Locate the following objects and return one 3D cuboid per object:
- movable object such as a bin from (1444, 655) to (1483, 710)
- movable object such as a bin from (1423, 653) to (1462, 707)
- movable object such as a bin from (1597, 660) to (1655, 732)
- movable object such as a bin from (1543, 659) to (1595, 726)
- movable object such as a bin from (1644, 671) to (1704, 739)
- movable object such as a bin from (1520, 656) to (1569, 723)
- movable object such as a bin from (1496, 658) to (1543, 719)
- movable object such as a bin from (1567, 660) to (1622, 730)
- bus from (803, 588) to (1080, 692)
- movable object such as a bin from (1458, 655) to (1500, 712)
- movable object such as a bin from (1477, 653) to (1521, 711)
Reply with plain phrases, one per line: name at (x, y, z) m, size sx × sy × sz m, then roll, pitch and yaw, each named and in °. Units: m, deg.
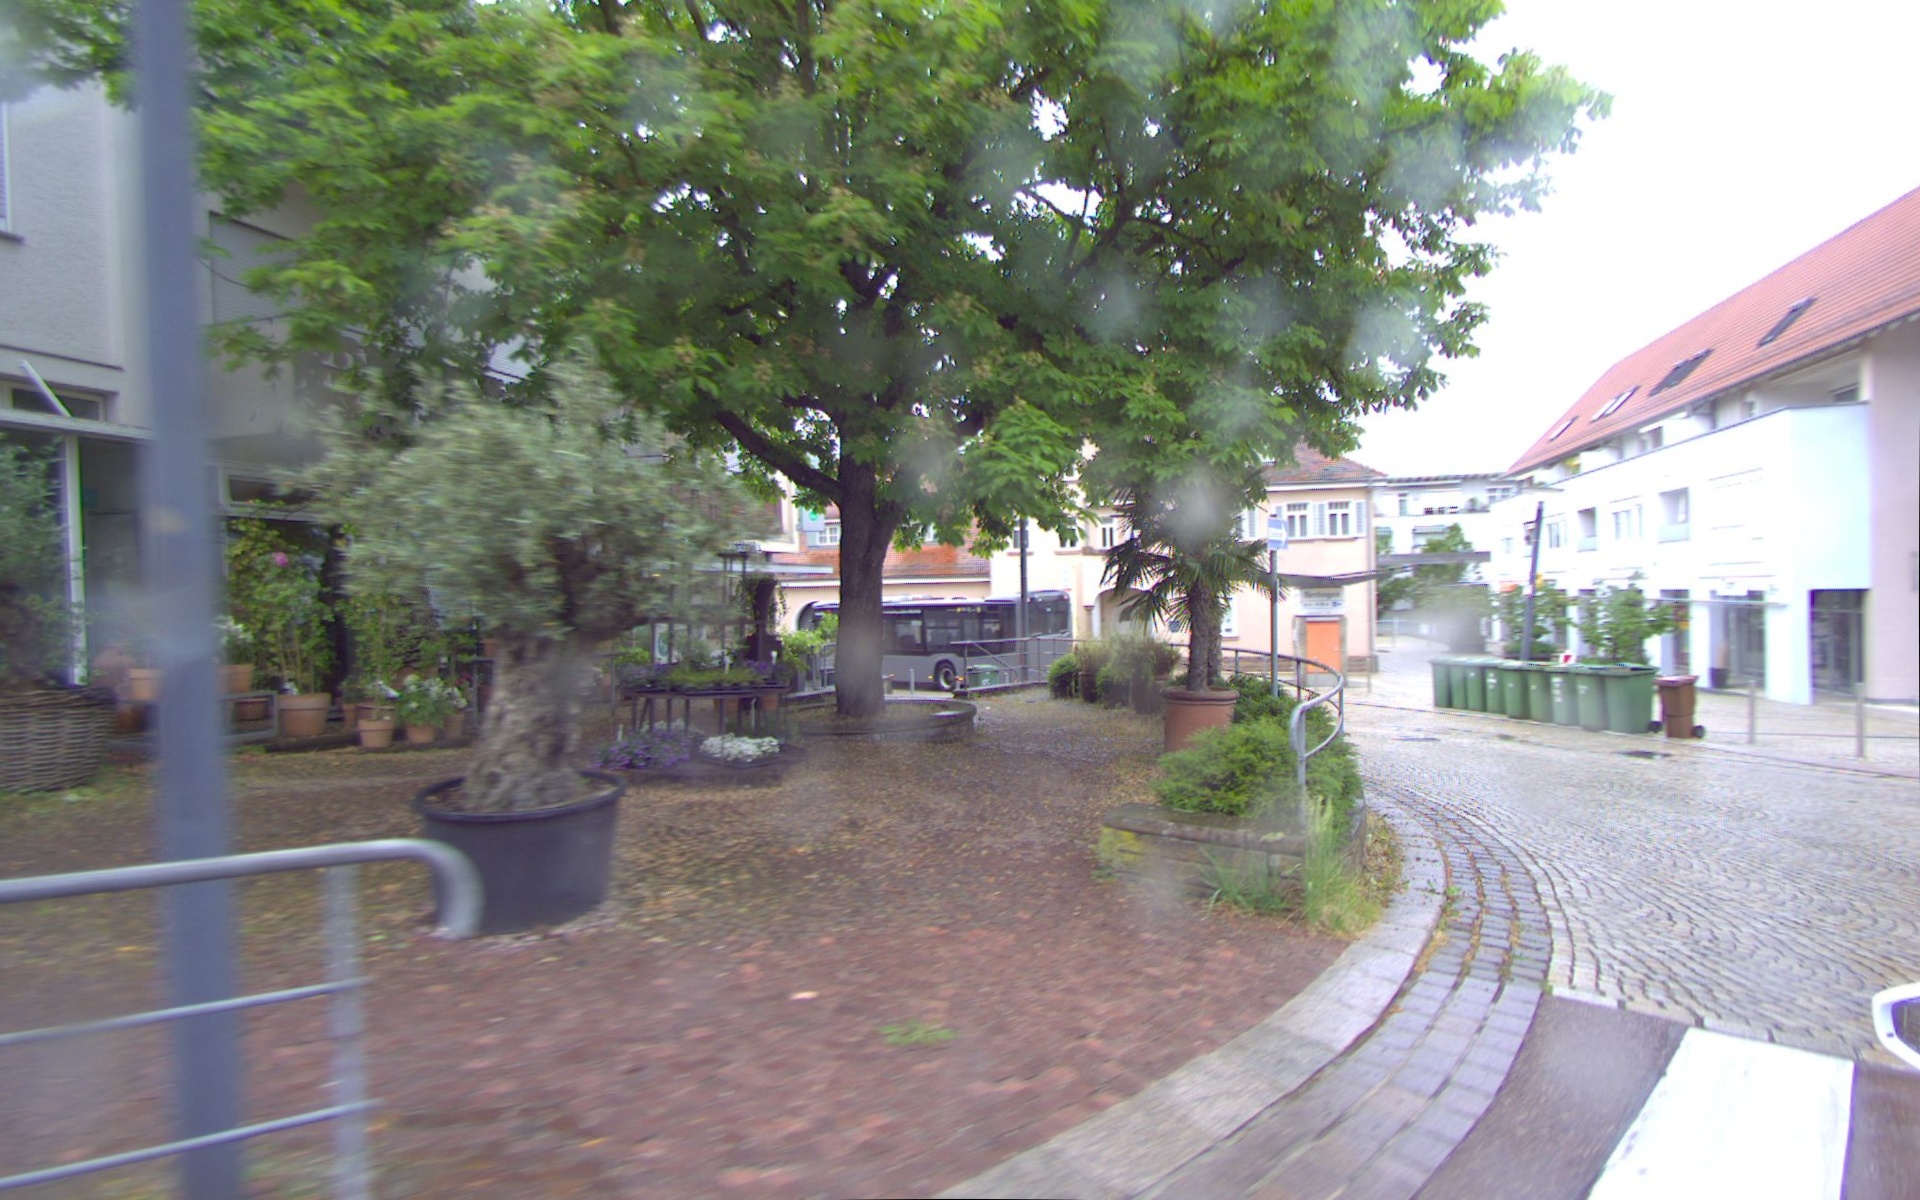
movable object such as a bin at (10.765, 1.750, 21.485) m, size 0.528 × 1.141 × 0.539 m, roll 0°, pitch -2°, yaw -3°
movable object such as a bin at (10.614, 1.748, 22.093) m, size 0.529 × 1.141 × 0.538 m, roll 0°, pitch -2°, yaw -13°
movable object such as a bin at (10.895, 1.565, 16.444) m, size 0.551 × 1.141 × 0.550 m, roll 0°, pitch -2°, yaw -3°
movable object such as a bin at (10.748, 1.628, 17.740) m, size 0.551 × 1.141 × 0.541 m, roll 0°, pitch -2°, yaw -3°
movable object such as a bin at (11.081, 1.623, 15.599) m, size 0.552 × 1.004 × 0.497 m, roll 0°, pitch -2°, yaw -12°
movable object such as a bin at (10.689, 1.626, 18.374) m, size 0.551 × 1.175 × 0.550 m, roll 0°, pitch -2°, yaw -3°
movable object such as a bin at (10.641, 1.674, 19.106) m, size 0.551 × 1.141 × 0.550 m, roll 0°, pitch -2°, yaw -3°
movable object such as a bin at (10.752, 1.601, 17.028) m, size 0.551 × 1.141 × 0.550 m, roll 0°, pitch -2°, yaw -3°
bus at (-0.976, 1.278, 33.995) m, size 10.410 × 3.030 × 2.772 m, roll -2°, pitch 0°, yaw 43°
movable object such as a bin at (10.785, 1.726, 20.894) m, size 0.551 × 1.141 × 0.550 m, roll 0°, pitch -2°, yaw -3°
movable object such as a bin at (10.880, 1.653, 20.291) m, size 0.551 × 1.141 × 0.550 m, roll 0°, pitch -2°, yaw -3°
